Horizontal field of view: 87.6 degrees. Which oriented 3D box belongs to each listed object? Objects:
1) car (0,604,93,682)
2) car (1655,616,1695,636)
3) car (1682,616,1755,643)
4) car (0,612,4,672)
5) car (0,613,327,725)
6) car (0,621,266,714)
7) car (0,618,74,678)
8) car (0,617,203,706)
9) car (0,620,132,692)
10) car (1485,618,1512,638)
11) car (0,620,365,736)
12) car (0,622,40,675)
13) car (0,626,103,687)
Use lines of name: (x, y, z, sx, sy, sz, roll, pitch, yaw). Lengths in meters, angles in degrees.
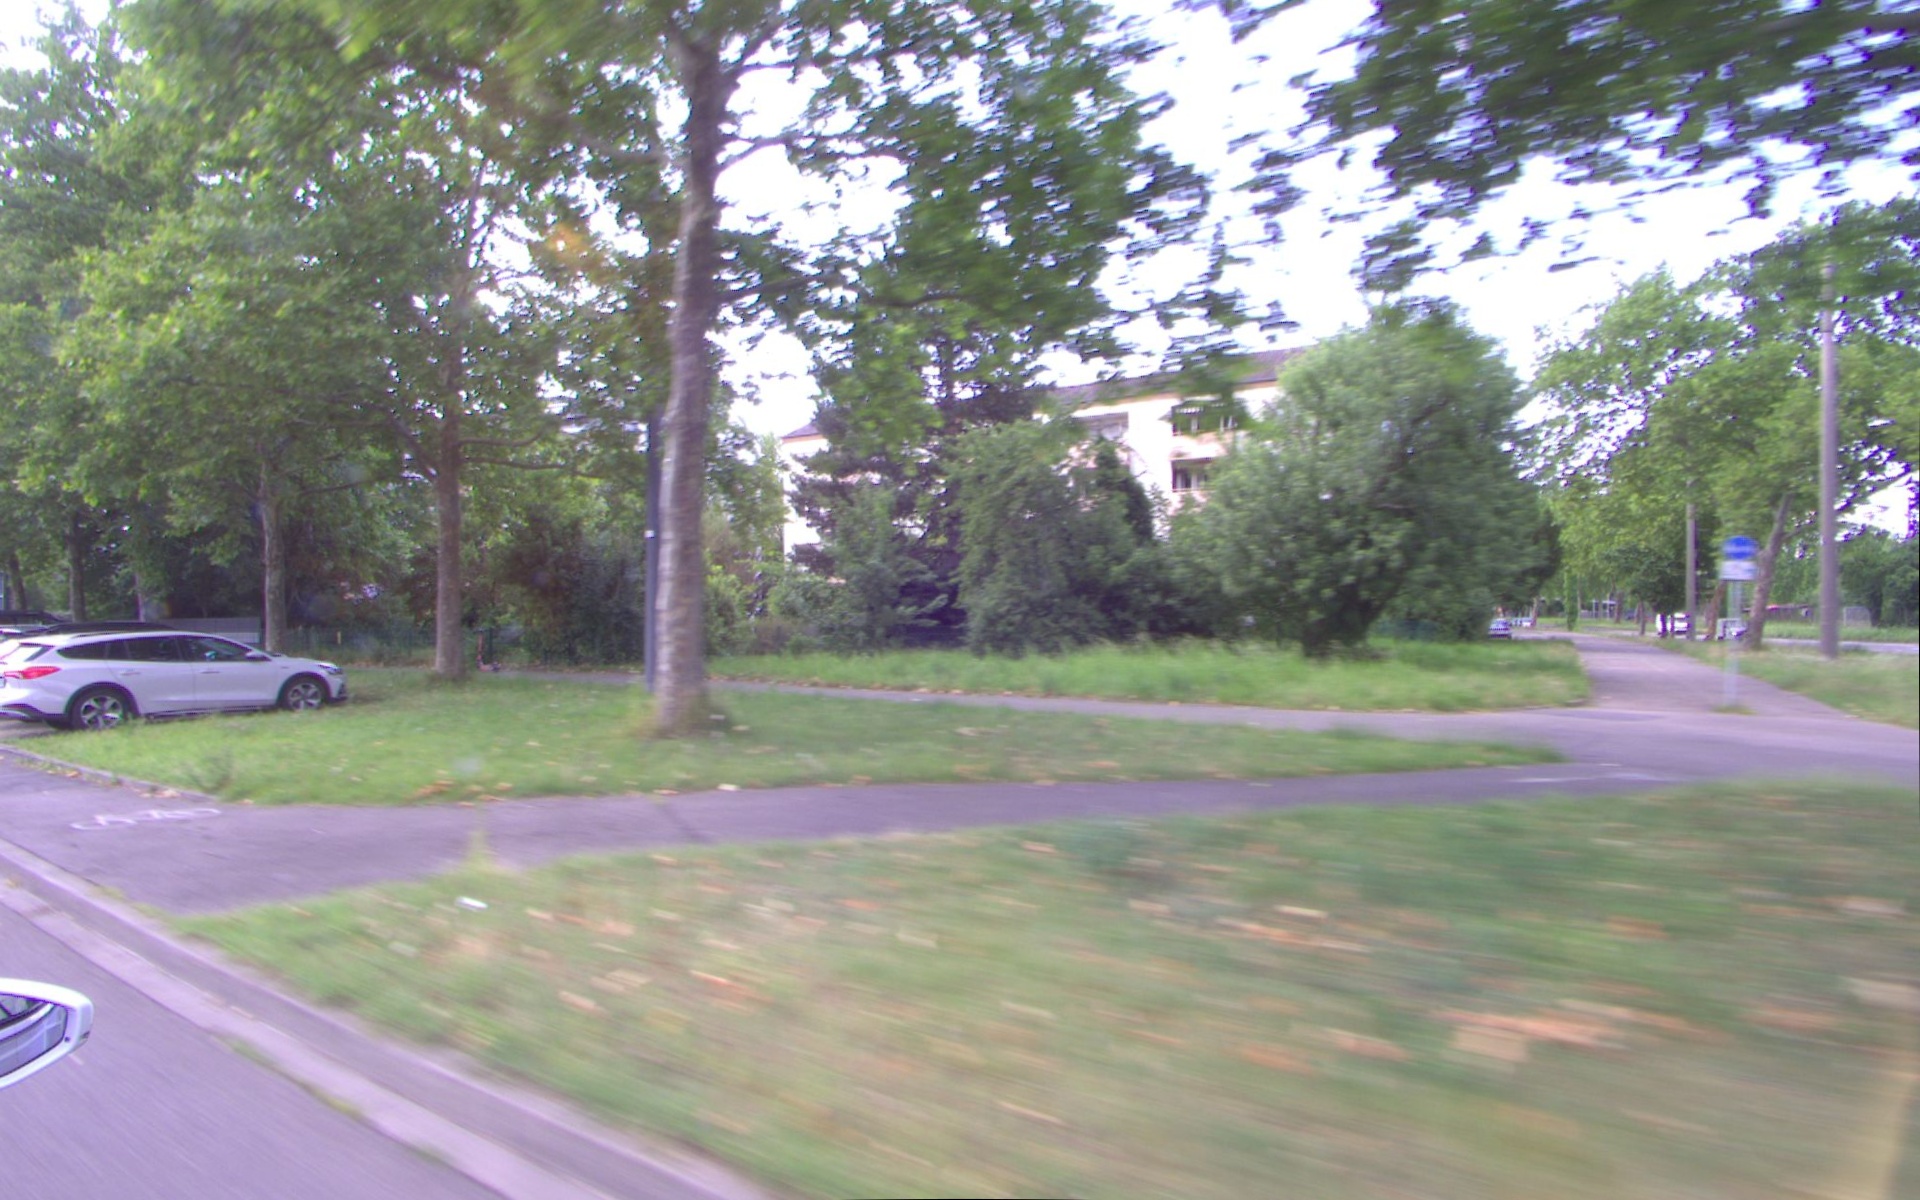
car: (-27.251, 1.206, 27.804, 1.832, 2.151, 4.528, -1, 0, 37)
car: (61.127, 2.207, 85.678, 1.967, 1.728, 3.989, 0, -1, 23)
car: (46.551, 1.787, 61.553, 1.964, 1.533, 4.681, -1, -1, 16)
car: (-34.666, 1.448, 32.825, 1.831, 2.027, 4.533, -1, 0, 34)
car: (-14.141, 1.089, 17.711, 1.823, 1.647, 4.645, -1, 0, 34)
car: (-16.113, 1.214, 19.153, 1.735, 1.521, 4.361, -1, 0, 40)
car: (-30.156, 1.483, 30.464, 1.832, 1.789, 4.528, -1, 0, 37)
car: (-18.424, 1.215, 20.522, 1.735, 1.661, 4.361, -1, 0, 40)
car: (-22.698, 1.335, 24.062, 1.729, 1.626, 3.962, -1, 0, 28)
car: (39.315, 2.040, 73.198, 1.653, 1.409, 3.294, -1, -1, 27)
car: (-12.524, 1.121, 16.196, 1.823, 1.493, 4.645, -1, 0, 34)
car: (-32.384, 1.601, 31.674, 1.830, 1.682, 4.534, -1, 0, 33)
car: (-24.933, 1.475, 25.869, 1.734, 1.514, 3.950, -2, -1, 37)
